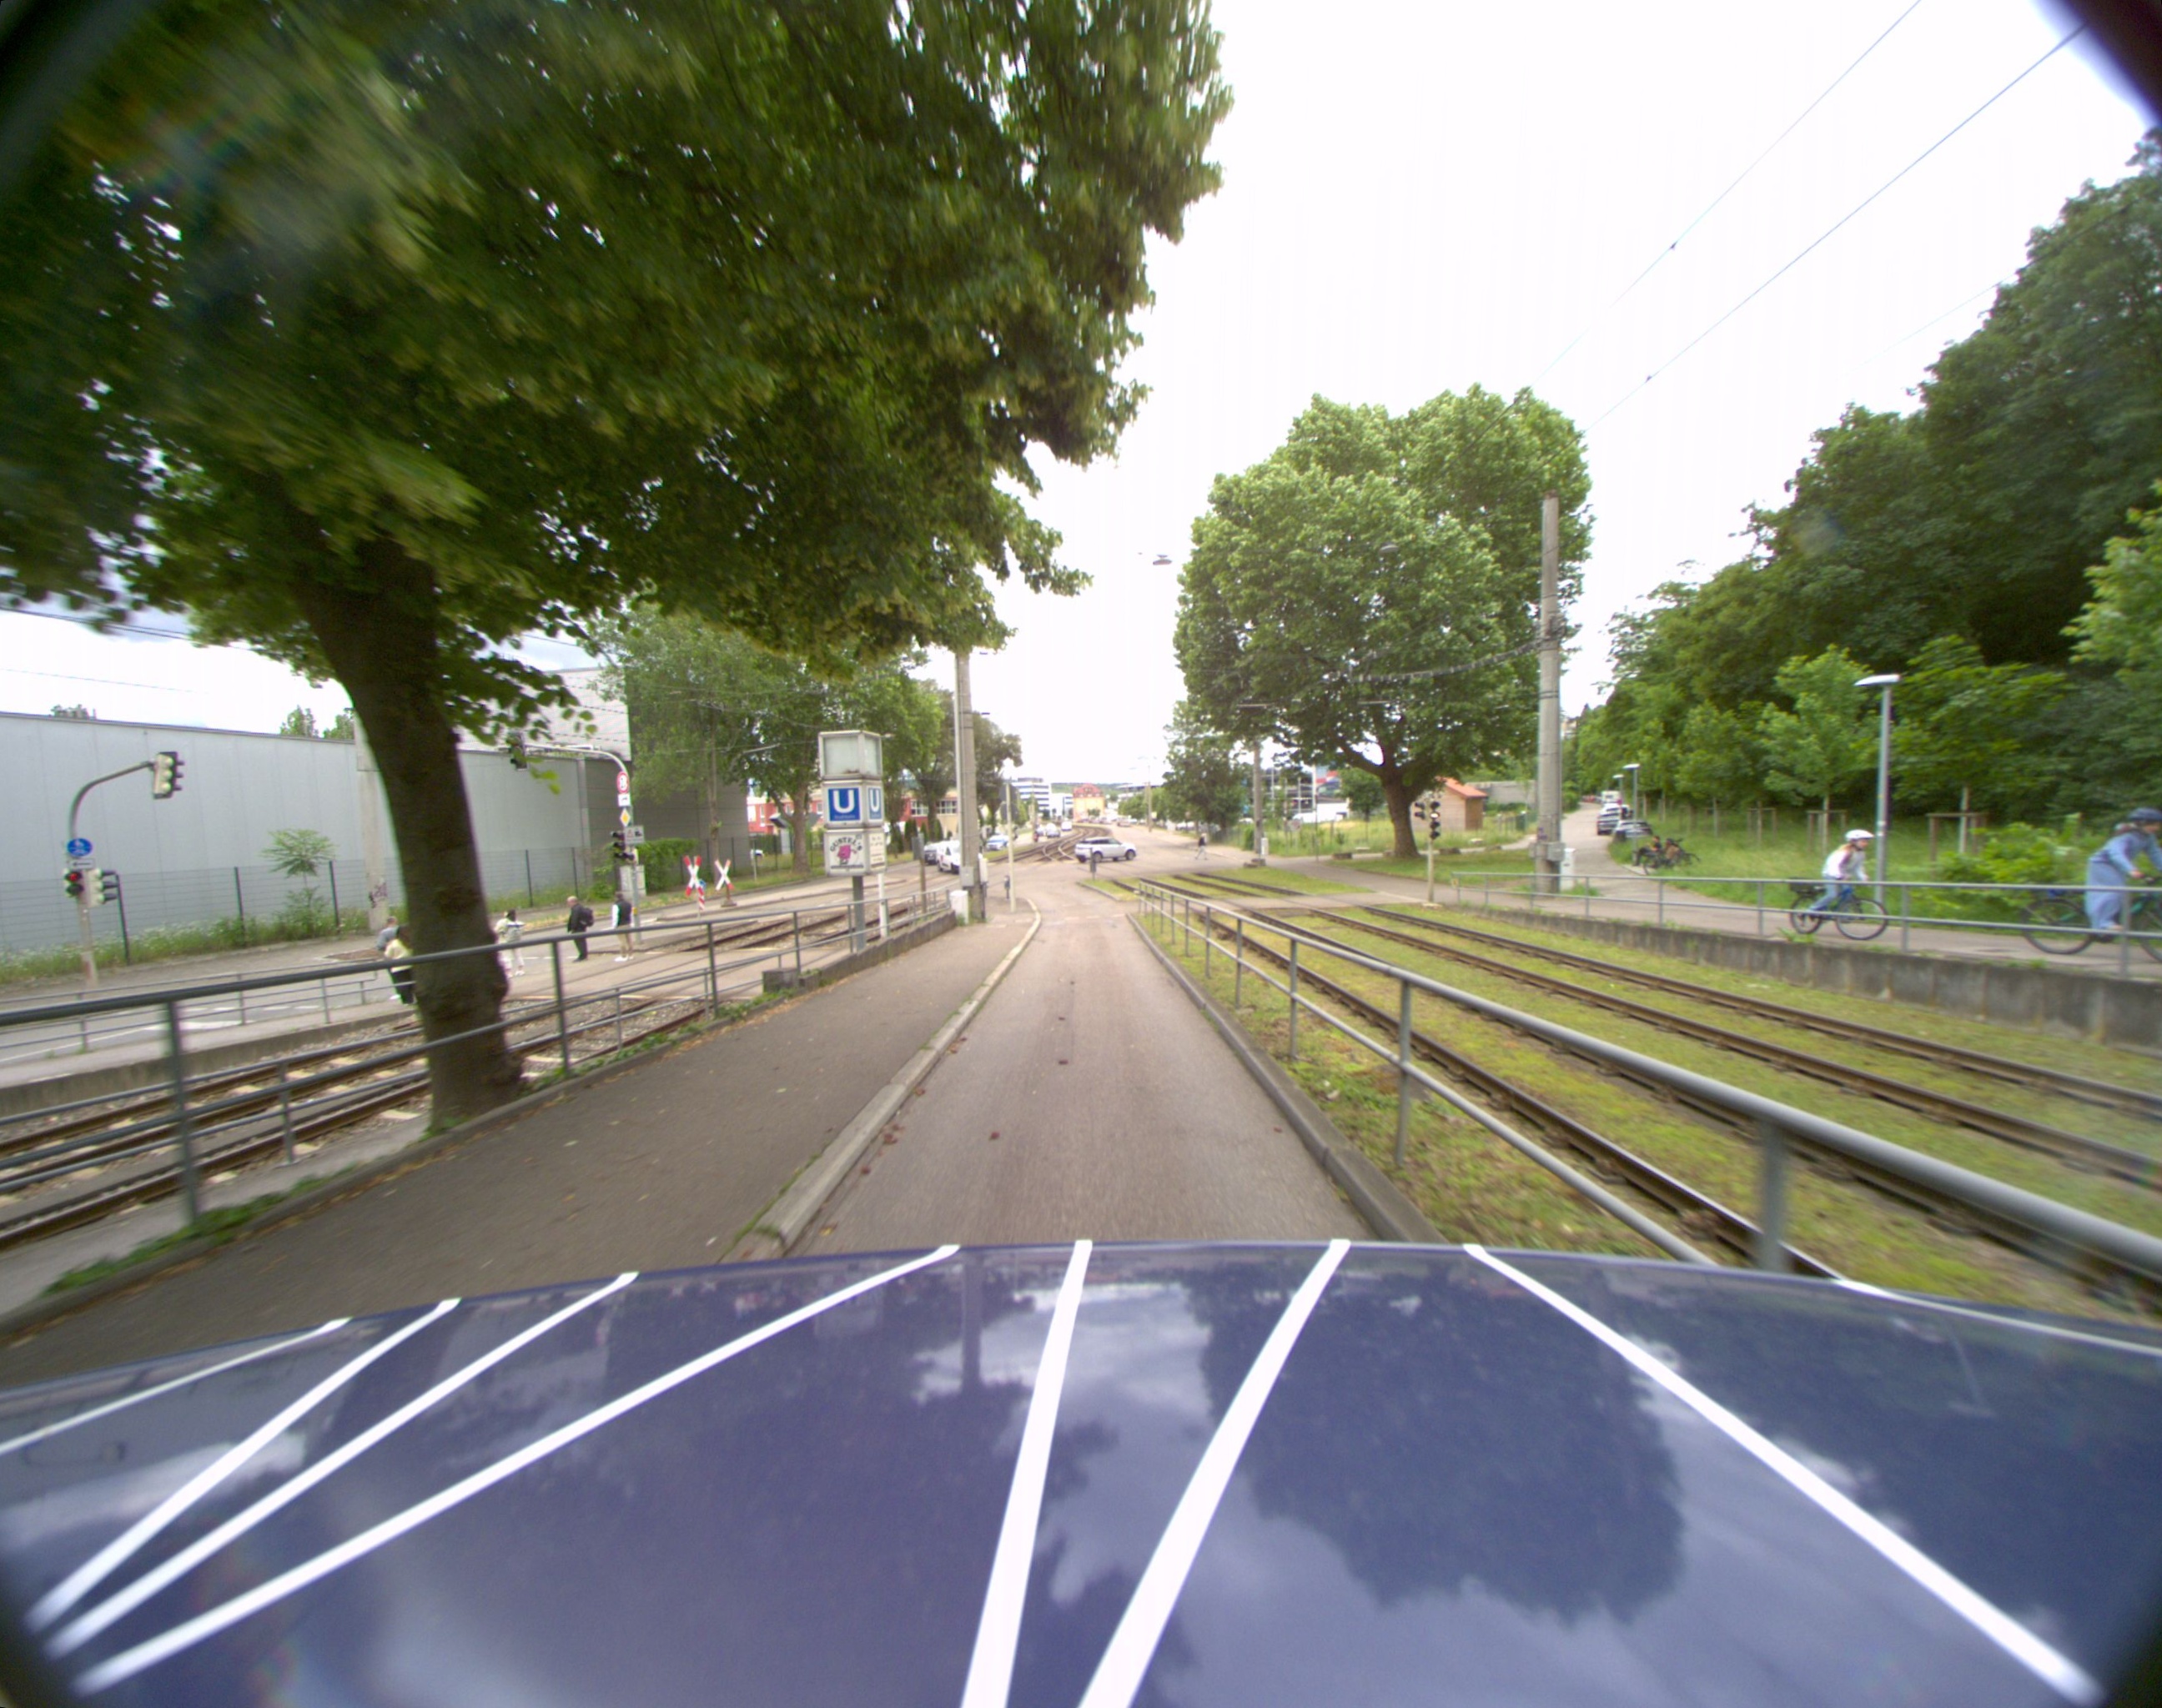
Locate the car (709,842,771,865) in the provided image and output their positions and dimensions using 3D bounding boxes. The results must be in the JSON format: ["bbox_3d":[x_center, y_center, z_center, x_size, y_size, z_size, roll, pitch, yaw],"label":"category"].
[{"bbox_3d":[-29.990,-0.059,67.037,1.994,1.657,4.508,0,4,34],"label":"car"}]

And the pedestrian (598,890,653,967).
[{"bbox_3d":[-11.420,1.867,19.062,0.803,1.811,0.671,-3,4,26],"label":"pedestrian"}]

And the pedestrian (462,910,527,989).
[{"bbox_3d":[-13.466,2.185,17.466,0.681,1.656,0.737,-5,4,6],"label":"pedestrian"}]

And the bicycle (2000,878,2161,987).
[{"bbox_3d":[11.326,0.831,8.141,0.475,1.035,1.944,-5,1,-4],"label":"bicycle"}]

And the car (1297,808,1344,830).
[{"bbox_3d":[32.491,-4.712,103.172,5.651,2.448,1.982,-4,4,26],"label":"car"}]

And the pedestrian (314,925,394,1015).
[{"bbox_3d":[-14.648,2.324,15.331,0.680,1.656,0.737,-4,4,12],"label":"pedestrian"}]

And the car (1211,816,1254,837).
[{"bbox_3d":[20.070,-3.701,101.037,5.266,2.255,1.999,-5,4,4],"label":"car"}]

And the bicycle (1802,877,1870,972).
[{"bbox_3d":[11.083,1.030,11.169,0.454,1.322,0.516,-5,1,17],"label":"bicycle"}]

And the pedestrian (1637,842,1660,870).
[{"bbox_3d":[21.939,0.065,29.387,0.531,0.984,0.620,-4,4,23],"label":"pedestrian"}]

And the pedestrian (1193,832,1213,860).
[{"bbox_3d":[8.153,-0.533,50.857,1.119,1.751,0.813,-5,4,5],"label":"pedestrian"}]

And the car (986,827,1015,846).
[{"bbox_3d":[-8.041,-1.763,76.412,1.998,1.548,4.559,-4,4,5],"label":"car"}]

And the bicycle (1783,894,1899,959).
[{"bbox_3d":[11.079,1.032,11.136,0.454,0.734,1.654,-5,1,17],"label":"bicycle"}]

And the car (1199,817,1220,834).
[{"bbox_3d":[18.736,-4.171,111.110,2.141,2.105,4.773,-5,3,0],"label":"car"}]

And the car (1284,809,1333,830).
[{"bbox_3d":[30.076,-4.595,100.597,5.838,2.255,2.055,-3,4,29],"label":"car"}]

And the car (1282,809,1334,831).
[{"bbox_3d":[28.975,-4.290,96.996,5.849,2.255,2.055,-3,4,29],"label":"car"}]

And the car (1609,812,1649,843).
[{"bbox_3d":[31.143,-1.532,43.248,1.696,1.416,3.508,-3,4,35],"label":"car"}]

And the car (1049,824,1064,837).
[{"bbox_3d":[-3.591,-3.477,112.321,1.868,1.740,3.998,-5,3,3],"label":"car"}]

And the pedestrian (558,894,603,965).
[{"bbox_3d":[-12.746,1.899,19.352,0.738,1.656,0.680,-8,5,-35],"label":"pedestrian"}]

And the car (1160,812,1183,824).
[{"bbox_3d":[19.251,-7.637,161.872,4.636,2.197,2.107,-5,4,0],"label":"car"}]

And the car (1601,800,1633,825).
[{"bbox_3d":[40.752,-3.190,57.810,1.905,1.604,3.686,-3,4,35],"label":"car"}]

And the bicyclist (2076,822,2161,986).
[{"bbox_3d":[11.301,0.513,8.106,0.475,1.665,0.623,-5,1,-4],"label":"bicyclist"}]

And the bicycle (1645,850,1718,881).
[{"bbox_3d":[19.342,0.375,24.527,1.742,0.881,0.623,-3,4,28],"label":"bicycle"}]

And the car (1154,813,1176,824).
[{"bbox_3d":[19.472,-8.284,175.962,4.636,2.197,2.107,-5,4,0],"label":"car"}]

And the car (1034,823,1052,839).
[{"bbox_3d":[-4.861,-2.992,98.198,1.868,1.740,3.998,-5,3,3],"label":"car"}]

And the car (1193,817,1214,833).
[{"bbox_3d":[18.881,-4.516,117.389,2.141,2.105,4.773,-5,3,-1],"label":"car"}]

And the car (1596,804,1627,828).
[{"bbox_3d":[37.550,-2.719,53.795,1.696,1.416,3.508,-3,4,35],"label":"car"}]

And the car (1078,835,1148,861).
[{"bbox_3d":[2.158,-0.412,50.865,4.275,1.680,1.995,0,1,-28],"label":"car"}]

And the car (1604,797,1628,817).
[{"bbox_3d":[49.916,-4.420,70.920,1.753,1.604,3.686,-3,4,35],"label":"car"}]

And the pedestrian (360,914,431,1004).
[{"bbox_3d":[-14.485,2.205,16.078,0.550,1.749,0.738,-4,4,13],"label":"pedestrian"}]

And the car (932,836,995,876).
[{"bbox_3d":[-7.062,0.045,45.359,2.002,1.992,5.020,-5,6,-29],"label":"car"}]

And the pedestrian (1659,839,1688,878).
[{"bbox_3d":[19.900,0.145,25.533,0.579,1.228,0.674,-4,4,22],"label":"pedestrian"}]
